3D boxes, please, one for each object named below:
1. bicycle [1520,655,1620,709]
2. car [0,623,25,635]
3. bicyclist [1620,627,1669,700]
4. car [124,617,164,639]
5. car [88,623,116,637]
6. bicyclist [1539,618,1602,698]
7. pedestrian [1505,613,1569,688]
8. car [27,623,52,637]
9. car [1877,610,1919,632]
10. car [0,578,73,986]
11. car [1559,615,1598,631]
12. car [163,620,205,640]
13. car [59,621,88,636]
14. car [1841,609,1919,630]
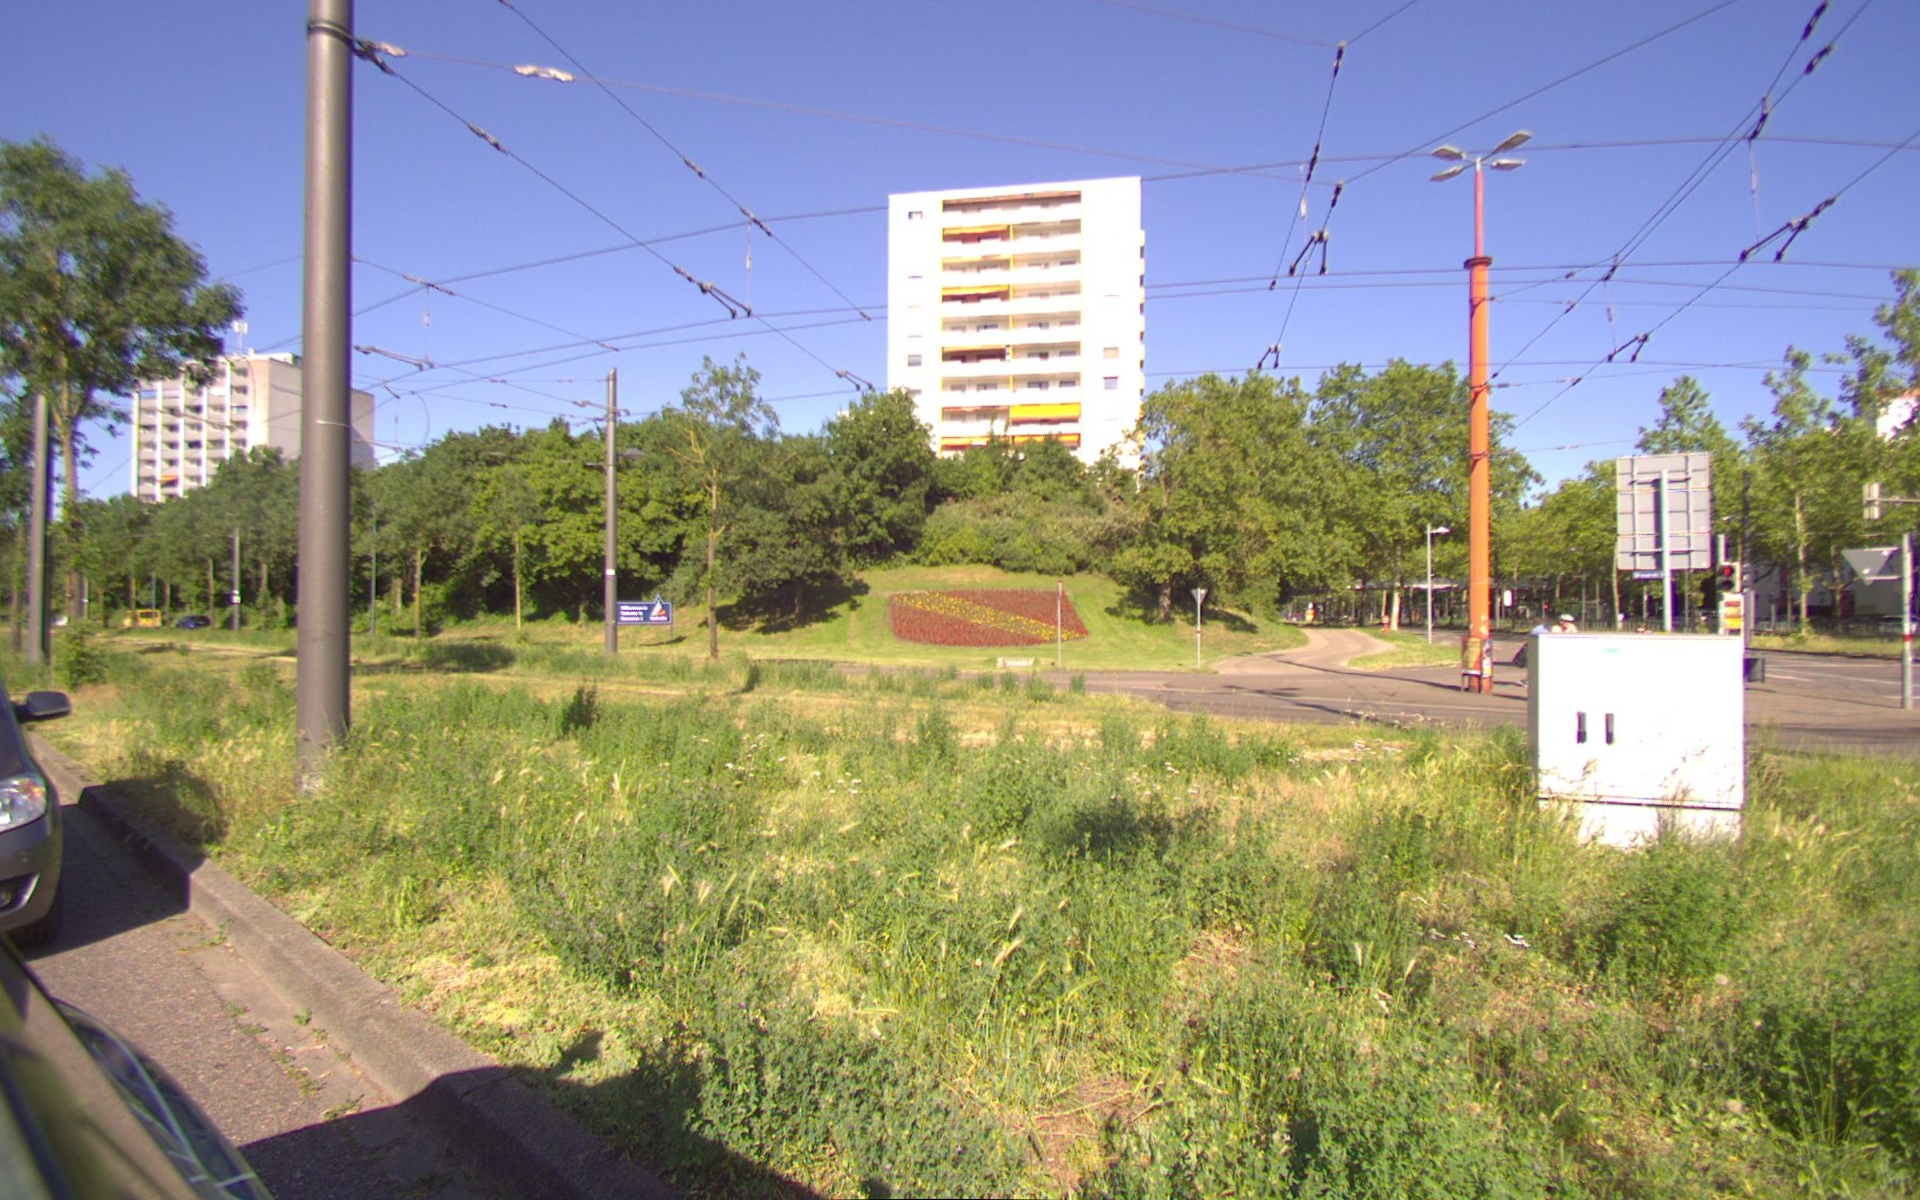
[{"bbox_3d":[12.190,1.625,20.277,0.673,0.968,1.650,0,-1,-20],"label":"bicycle"},{"bbox_3d":[-118.553,3.632,126.334,4.230,1.519,1.773,-1,-2,34],"label":"car"},{"bbox_3d":[13.370,1.222,19.771,0.435,1.391,0.631,0,-2,-20],"label":"bicyclist"},{"bbox_3d":[-73.919,2.508,91.663,4.905,1.981,1.973,-1,-2,41],"label":"car"},{"bbox_3d":[-87.348,2.999,103.020,4.000,1.386,1.756,-1,-2,43],"label":"car"},{"bbox_3d":[12.202,1.147,20.247,0.719,1.557,0.770,0,-2,-20],"label":"bicyclist"},{"bbox_3d":[14.253,1.233,25.037,0.940,1.807,0.989,0,-1,-7],"label":"pedestrian"},{"bbox_3d":[-104.428,3.426,114.825,4.241,1.519,1.768,-1,-2,44],"label":"car"},{"bbox_3d":[64.888,1.410,68.399,1.770,1.420,4.010,1,-1,-36],"label":"car"},{"bbox_3d":[-5.736,0.749,4.844,3.879,1.634,1.737,-1,-2,41],"label":"car"},{"bbox_3d":[79.732,3.011,130.482,3.969,2.029,1.987,-1,-1,20],"label":"car"},{"bbox_3d":[-62.499,2.413,81.477,4.105,1.586,1.973,-1,-2,41],"label":"car"},{"bbox_3d":[-84.416,2.729,96.354,4.020,1.418,1.671,-2,-2,42],"label":"car"},{"bbox_3d":[65.877,1.389,72.381,1.770,1.420,4.010,1,-1,-36],"label":"car"}]
